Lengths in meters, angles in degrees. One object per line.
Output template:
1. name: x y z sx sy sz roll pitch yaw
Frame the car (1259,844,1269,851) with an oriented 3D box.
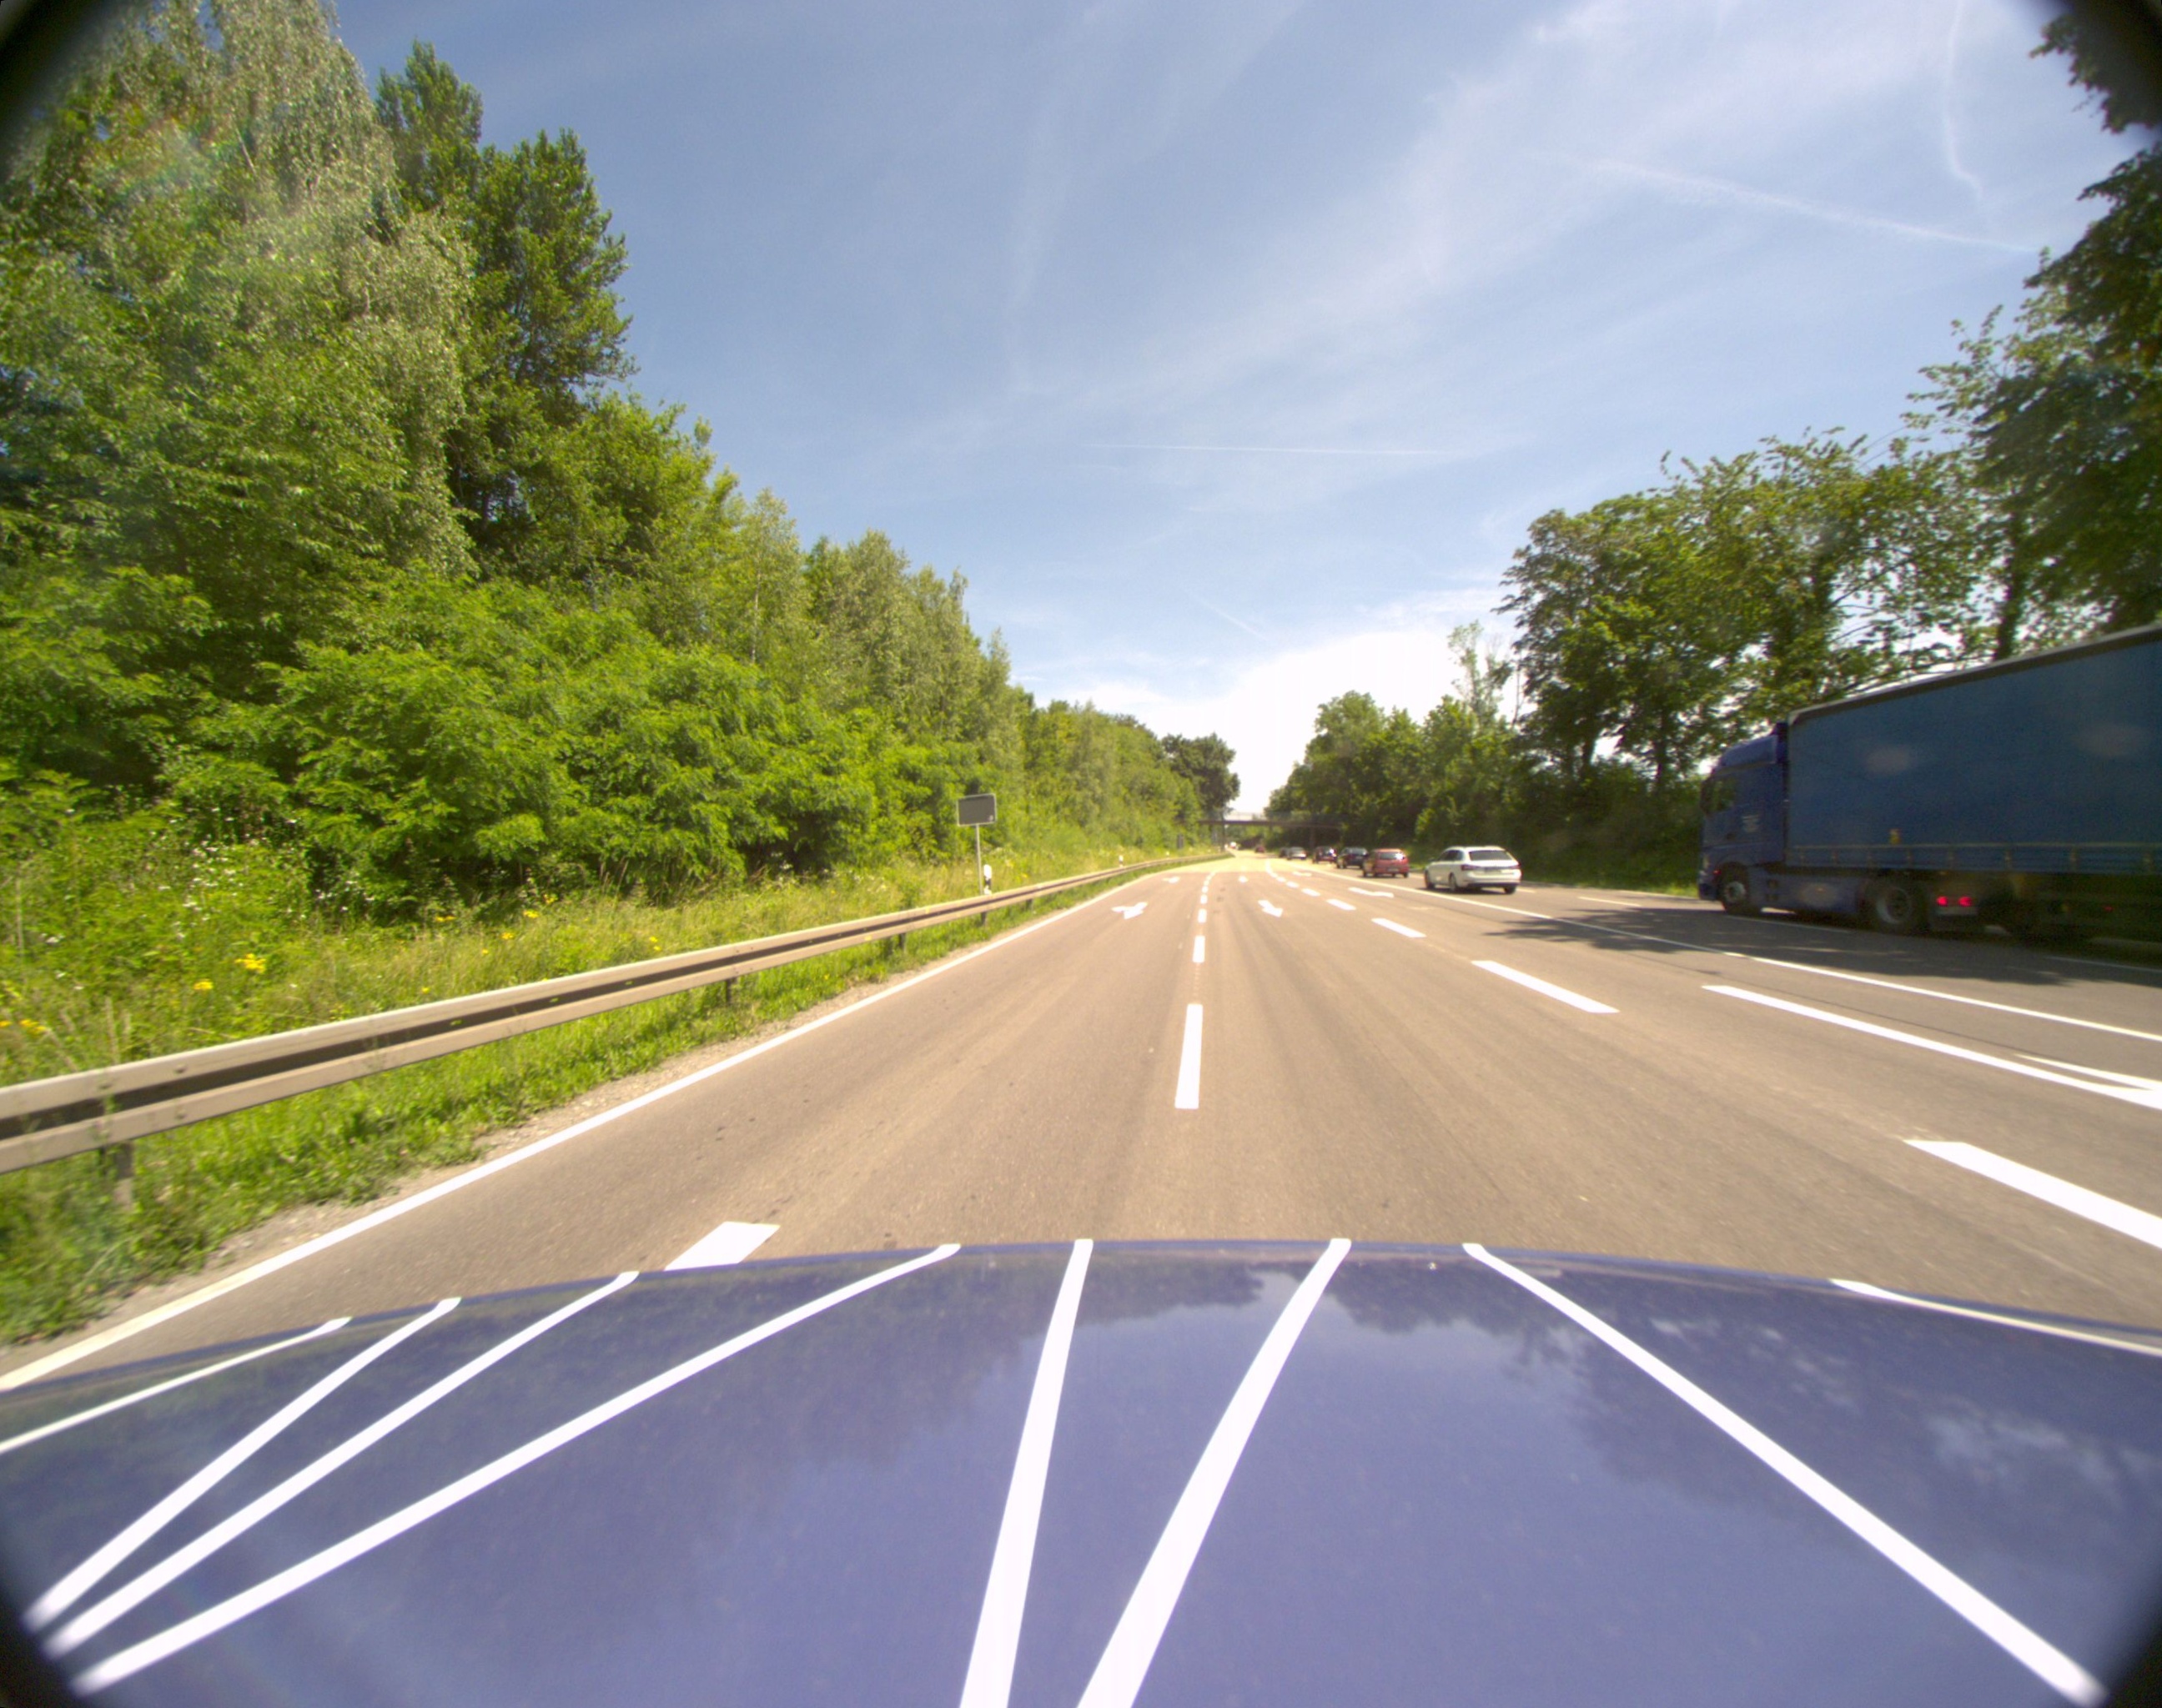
1. car: 38.066 -1.374 158.405 1.906 1.500 3.767 0 1 11

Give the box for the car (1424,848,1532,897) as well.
1. car: 12.698 0.529 24.616 1.703 1.407 4.565 -1 1 9

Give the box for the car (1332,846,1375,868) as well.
1. car: 18.855 0.210 52.742 1.922 1.472 4.690 0 0 9

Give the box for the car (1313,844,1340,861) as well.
1. car: 21.940 -0.122 67.964 1.644 1.430 4.019 -2 0 8

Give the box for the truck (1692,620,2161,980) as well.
1. truck: 13.977 -0.633 8.768 2.973 4.153 16.584 0 1 9

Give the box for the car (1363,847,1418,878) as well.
1. car: 15.386 0.366 37.985 1.770 1.437 3.778 0 1 10

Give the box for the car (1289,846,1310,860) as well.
1. car: 24.144 -0.168 83.980 1.770 1.378 4.002 -2 1 10

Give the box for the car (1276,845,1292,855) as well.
1. car: 28.647 -0.585 107.210 1.770 1.378 4.002 -2 1 10
